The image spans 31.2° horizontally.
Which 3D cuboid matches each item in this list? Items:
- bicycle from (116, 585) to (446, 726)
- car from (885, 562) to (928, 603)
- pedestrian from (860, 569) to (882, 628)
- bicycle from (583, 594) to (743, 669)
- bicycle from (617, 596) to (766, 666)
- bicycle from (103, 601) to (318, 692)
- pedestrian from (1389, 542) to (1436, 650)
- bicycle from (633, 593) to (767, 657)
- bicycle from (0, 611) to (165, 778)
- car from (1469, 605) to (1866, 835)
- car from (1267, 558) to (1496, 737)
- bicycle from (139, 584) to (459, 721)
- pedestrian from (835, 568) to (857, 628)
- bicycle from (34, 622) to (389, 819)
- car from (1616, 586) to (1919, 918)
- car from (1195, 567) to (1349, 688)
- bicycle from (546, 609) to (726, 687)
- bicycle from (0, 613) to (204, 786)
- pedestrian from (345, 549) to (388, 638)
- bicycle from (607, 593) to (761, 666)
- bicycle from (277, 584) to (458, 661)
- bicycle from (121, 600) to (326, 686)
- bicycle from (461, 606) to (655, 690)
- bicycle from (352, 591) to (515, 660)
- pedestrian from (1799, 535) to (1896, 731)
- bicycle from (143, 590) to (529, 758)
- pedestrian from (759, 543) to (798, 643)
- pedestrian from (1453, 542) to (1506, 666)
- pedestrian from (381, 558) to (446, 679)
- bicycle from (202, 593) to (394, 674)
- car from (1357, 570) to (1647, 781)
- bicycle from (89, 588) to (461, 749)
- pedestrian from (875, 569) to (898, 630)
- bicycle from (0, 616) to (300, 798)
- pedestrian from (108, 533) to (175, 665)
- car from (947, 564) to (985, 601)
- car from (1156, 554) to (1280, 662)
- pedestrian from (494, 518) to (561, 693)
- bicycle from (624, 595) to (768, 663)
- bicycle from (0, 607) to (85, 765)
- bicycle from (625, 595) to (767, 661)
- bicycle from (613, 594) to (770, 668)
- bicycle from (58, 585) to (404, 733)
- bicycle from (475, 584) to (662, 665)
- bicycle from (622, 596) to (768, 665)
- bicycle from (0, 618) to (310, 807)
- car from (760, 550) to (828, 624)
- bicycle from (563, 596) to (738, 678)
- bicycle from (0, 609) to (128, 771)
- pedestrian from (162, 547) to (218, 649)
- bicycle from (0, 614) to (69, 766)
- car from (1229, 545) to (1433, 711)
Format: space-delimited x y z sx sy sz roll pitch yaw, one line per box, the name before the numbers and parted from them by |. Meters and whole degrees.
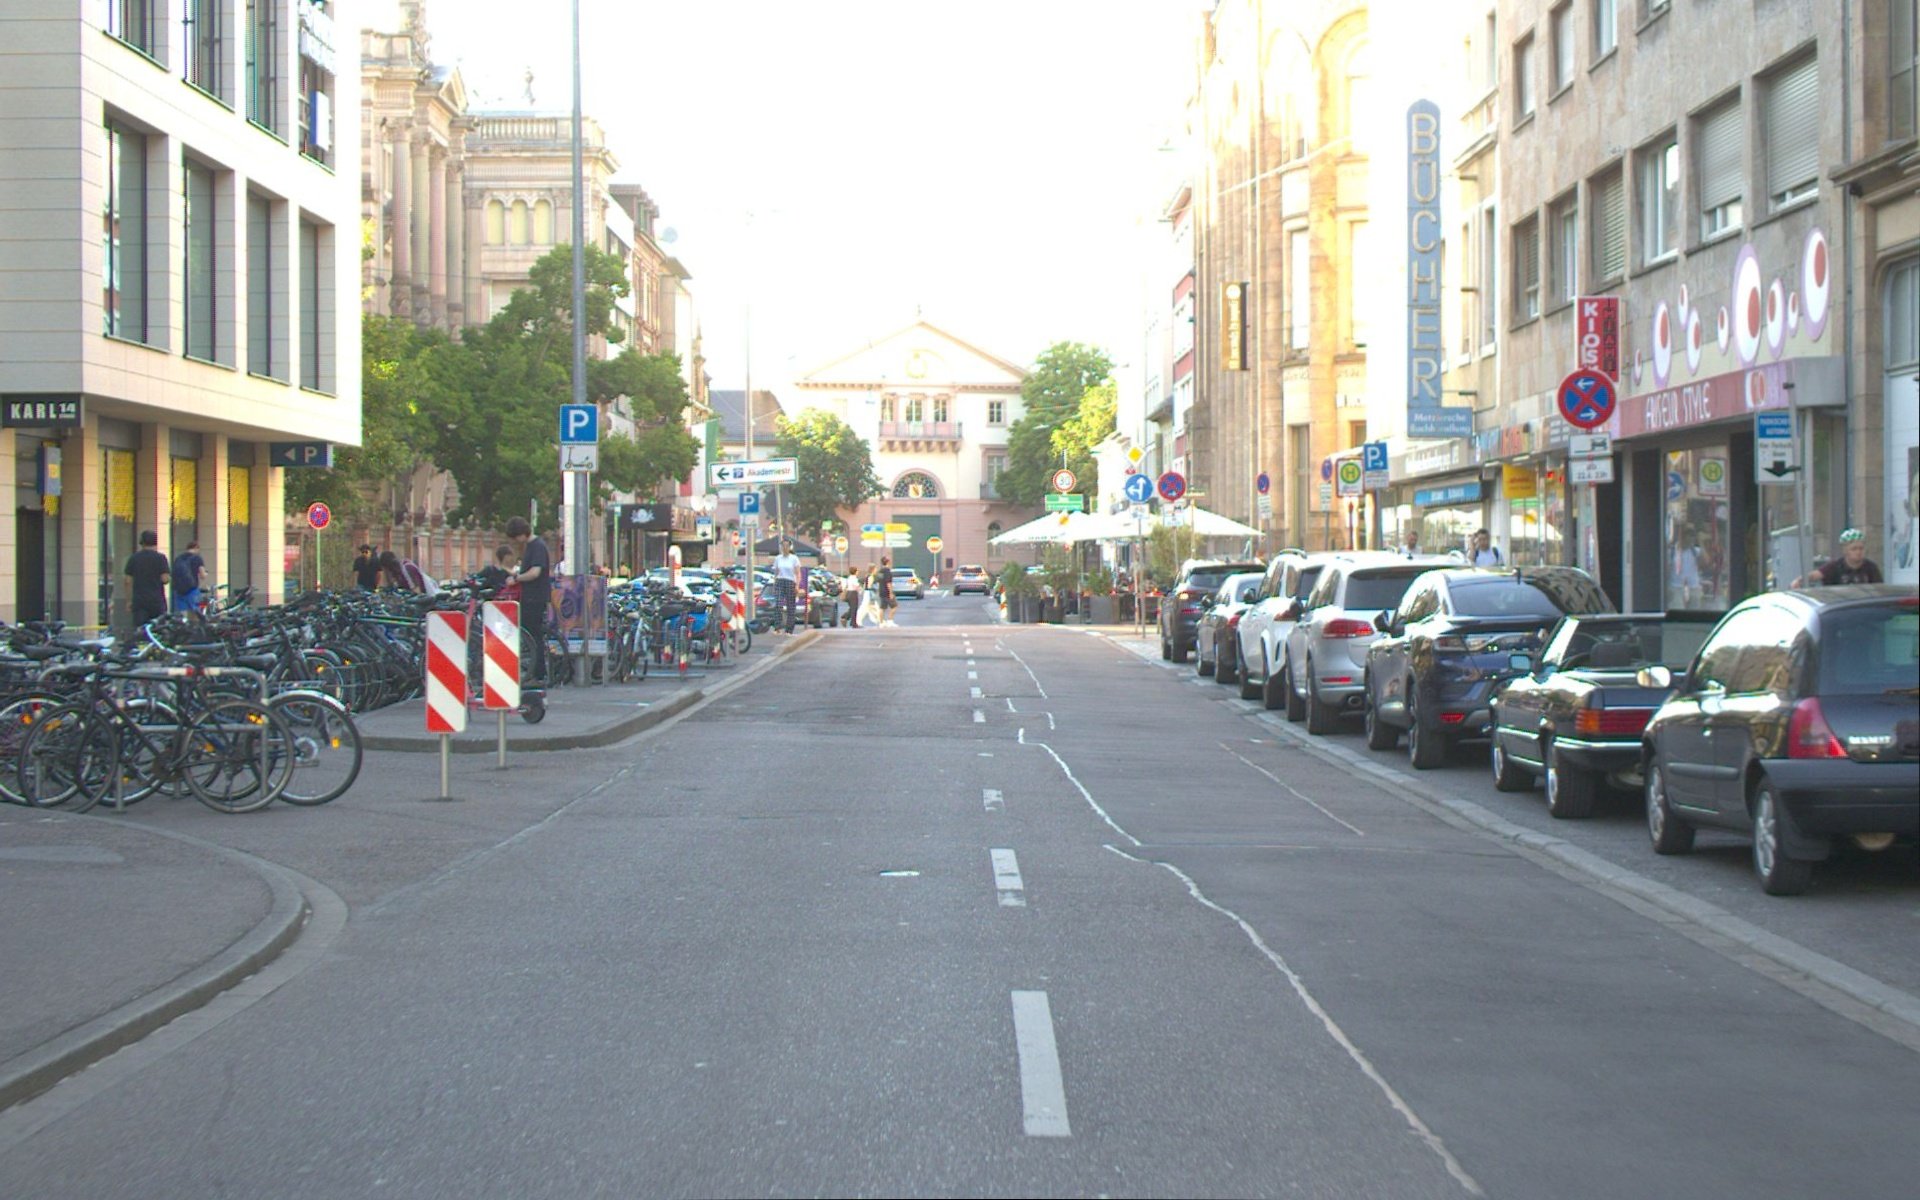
bicycle | -6.297 0.494 31.937 2.886 1.251 0.804 -1 1 -26
car | -2.571 -0.866 165.535 1.993 1.897 4.000 1 0 -1
pedestrian | -2.229 -0.042 85.861 0.549 1.481 0.566 0 0 -2
bicycle | -4.121 0.429 47.728 2.148 1.026 0.640 0 0 2
bicycle | -3.980 0.458 51.111 2.148 1.026 0.640 0 0 2
bicycle | -7.972 0.496 36.602 2.148 0.950 0.640 0 0 2
pedestrian | 7.312 -0.070 55.513 0.643 1.740 0.671 0 0 -2
bicycle | -4.277 0.407 56.612 2.148 1.026 0.640 0 0 2
bicycle | -6.475 0.637 23.411 1.967 1.118 0.558 1 0 -29
car | 4.471 0.710 22.296 1.679 1.286 4.047 -1 0 -1
car | 4.064 0.423 33.685 1.679 1.608 4.028 -1 0 -1
bicycle | -6.314 0.486 32.912 2.886 1.251 0.804 -1 1 -26
pedestrian | -2.821 -0.049 85.067 0.549 1.481 0.566 0 0 -2
bicycle | -4.438 0.706 20.441 1.967 1.118 0.558 1 0 -29
car | 4.469 0.663 17.036 1.679 1.419 3.673 -1 0 -1
car | 4.178 0.343 46.461 1.679 1.542 3.673 -1 0 -1
bicycle | -4.010 0.595 42.609 2.148 0.950 0.640 0 0 2
bicycle | -6.067 0.651 22.768 1.967 1.118 0.558 1 0 -29
pedestrian | -10.833 -0.125 62.736 0.679 1.615 0.573 0 0 0
bicycle | -3.949 0.421 49.248 2.148 1.026 0.640 0 0 2
bicycle | -7.424 0.283 43.104 2.148 0.950 0.640 0 0 2
bicycle | -8.217 0.476 38.410 2.148 0.950 0.640 0 0 2
bicycle | -4.630 0.551 39.644 2.148 0.950 0.640 0 0 2
bicycle | -7.287 0.352 47.654 2.148 0.950 0.640 0 0 2
pedestrian | 7.714 0.282 29.905 0.643 1.684 0.671 0 0 -2
bicycle | -4.917 0.562 27.188 2.886 1.251 0.804 -1 1 -26
pedestrian | -3.304 -0.131 62.573 0.598 1.817 0.452 0 0 -20
pedestrian | 7.572 0.060 50.150 0.643 1.794 0.671 0 0 -2
pedestrian | -6.946 0.230 43.718 0.751 1.524 0.485 0 0 0
bicycle | -7.858 0.394 40.826 2.148 0.950 0.640 0 0 2
car | 4.267 0.551 27.545 1.679 1.542 3.673 -1 0 -1
bicycle | -5.617 0.538 28.274 2.886 1.251 0.804 -1 1 -26
pedestrian | -1.815 -0.021 84.373 0.549 1.481 0.566 0 0 -2
bicycle | -5.256 0.676 21.912 1.967 1.118 0.558 1 0 -29
pedestrian | -10.114 -0.013 42.498 0.679 1.615 0.573 0 0 0
car | 0.314 -0.948 184.063 1.993 1.897 4.000 1 0 -1
car | 4.151 0.116 55.779 1.679 1.660 3.673 -1 0 -1
pedestrian | -4.511 0.053 35.862 0.656 1.817 0.528 0 0 -10
bicycle | -4.056 0.442 52.916 2.148 1.026 0.640 0 0 2
bicycle | -7.337 0.607 24.646 1.967 1.118 0.558 1 0 -29
bicycle | -4.116 0.435 53.642 2.148 1.026 0.640 0 0 2
bicycle | -3.779 0.430 48.518 2.148 1.026 0.640 0 0 2
bicycle | -6.445 0.502 30.464 2.886 1.251 0.804 -1 1 -26
bicycle | -4.679 0.288 41.168 2.148 0.950 0.640 0 0 2
bicycle | -3.994 0.451 51.881 2.148 1.026 0.640 0 0 2
bicycle | -5.056 0.686 21.193 1.967 1.118 0.558 1 0 -29
car | -4.578 -0.369 95.192 1.710 2.007 4.000 0 1 -1
bicycle | -3.912 0.467 43.518 2.148 1.026 0.640 0 0 2
bicycle | -6.878 0.623 24.040 1.967 1.118 0.558 1 0 -29
pedestrian | -12.212 -0.034 54.547 0.731 1.615 0.661 0 0 0
bicycle | -7.698 0.662 25.595 1.967 1.118 0.558 1 0 -29
car | 4.198 0.285 39.519 1.799 1.762 4.398 -1 0 -1
